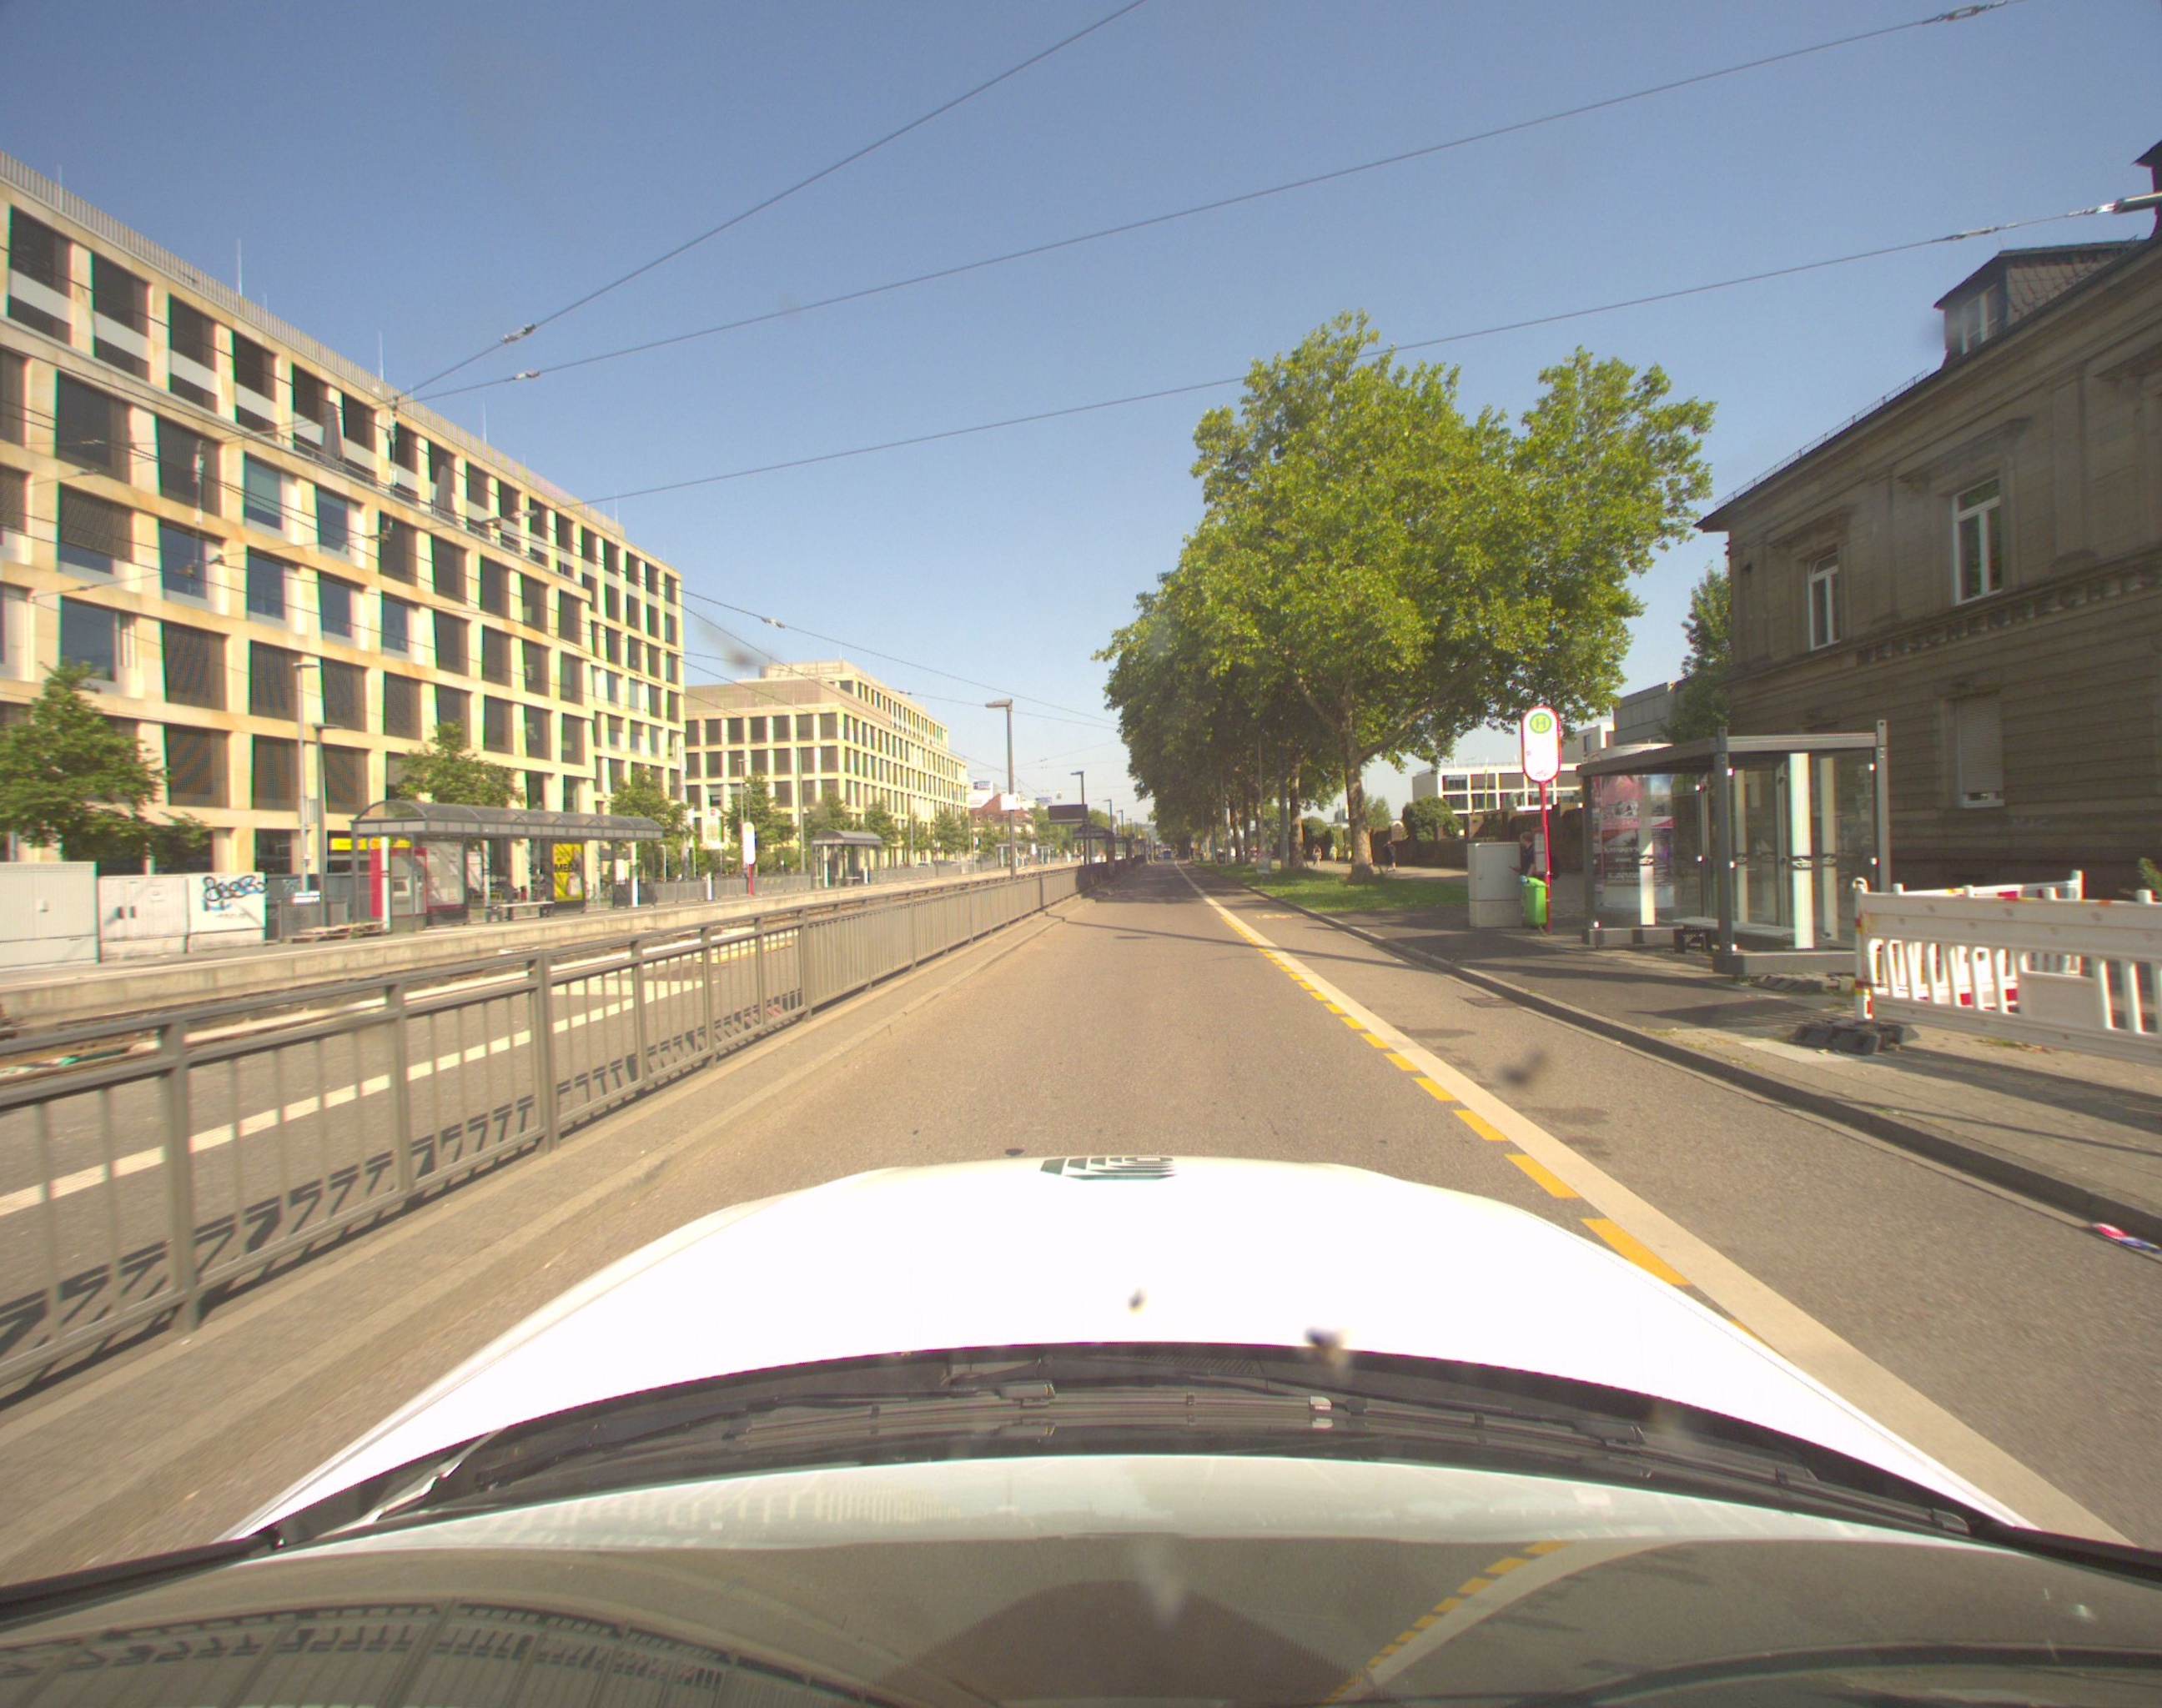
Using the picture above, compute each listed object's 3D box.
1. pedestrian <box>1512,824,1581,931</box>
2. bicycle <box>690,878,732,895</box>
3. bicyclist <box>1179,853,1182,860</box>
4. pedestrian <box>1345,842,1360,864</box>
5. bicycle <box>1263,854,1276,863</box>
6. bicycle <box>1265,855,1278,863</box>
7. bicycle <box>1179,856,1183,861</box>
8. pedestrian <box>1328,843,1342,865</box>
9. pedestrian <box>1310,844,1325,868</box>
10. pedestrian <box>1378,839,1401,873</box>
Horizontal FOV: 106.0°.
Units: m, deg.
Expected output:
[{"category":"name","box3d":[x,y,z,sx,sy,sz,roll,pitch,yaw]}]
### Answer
[{"category":"pedestrian","box3d":[7.745,0.381,13.575,0.689,1.697,0.645,-2,-1,-15]},{"category":"bicycle","box3d":[-24.488,2.133,53.931,2.422,0.986,0.822,-2,0,4]},{"category":"bicyclist","box3d":[21.163,0.636,172.912,0.702,1.461,1.011,-1,-1,6]},{"category":"pedestrian","box3d":[20.812,-0.083,62.438,0.802,1.604,0.949,-4,-1,6]},{"category":"bicycle","box3d":[24.455,0.604,105.724,1.645,0.969,0.508,-4,-1,11]},{"category":"bicycle","box3d":[25.790,0.630,110.085,1.647,0.969,0.507,-4,-1,8]},{"category":"bicycle","box3d":[21.178,1.024,172.920,0.711,1.107,2.513,-1,-1,7]},{"category":"pedestrian","box3d":[19.658,0.012,62.998,0.802,1.604,0.949,-4,-1,6]},{"category":"pedestrian","box3d":[17.149,0.150,59.092,0.802,1.636,0.949,-4,-1,6]},{"category":"pedestrian","box3d":[15.925,0.115,42.049,0.815,1.686,1.014,-3,-1,6]}]
